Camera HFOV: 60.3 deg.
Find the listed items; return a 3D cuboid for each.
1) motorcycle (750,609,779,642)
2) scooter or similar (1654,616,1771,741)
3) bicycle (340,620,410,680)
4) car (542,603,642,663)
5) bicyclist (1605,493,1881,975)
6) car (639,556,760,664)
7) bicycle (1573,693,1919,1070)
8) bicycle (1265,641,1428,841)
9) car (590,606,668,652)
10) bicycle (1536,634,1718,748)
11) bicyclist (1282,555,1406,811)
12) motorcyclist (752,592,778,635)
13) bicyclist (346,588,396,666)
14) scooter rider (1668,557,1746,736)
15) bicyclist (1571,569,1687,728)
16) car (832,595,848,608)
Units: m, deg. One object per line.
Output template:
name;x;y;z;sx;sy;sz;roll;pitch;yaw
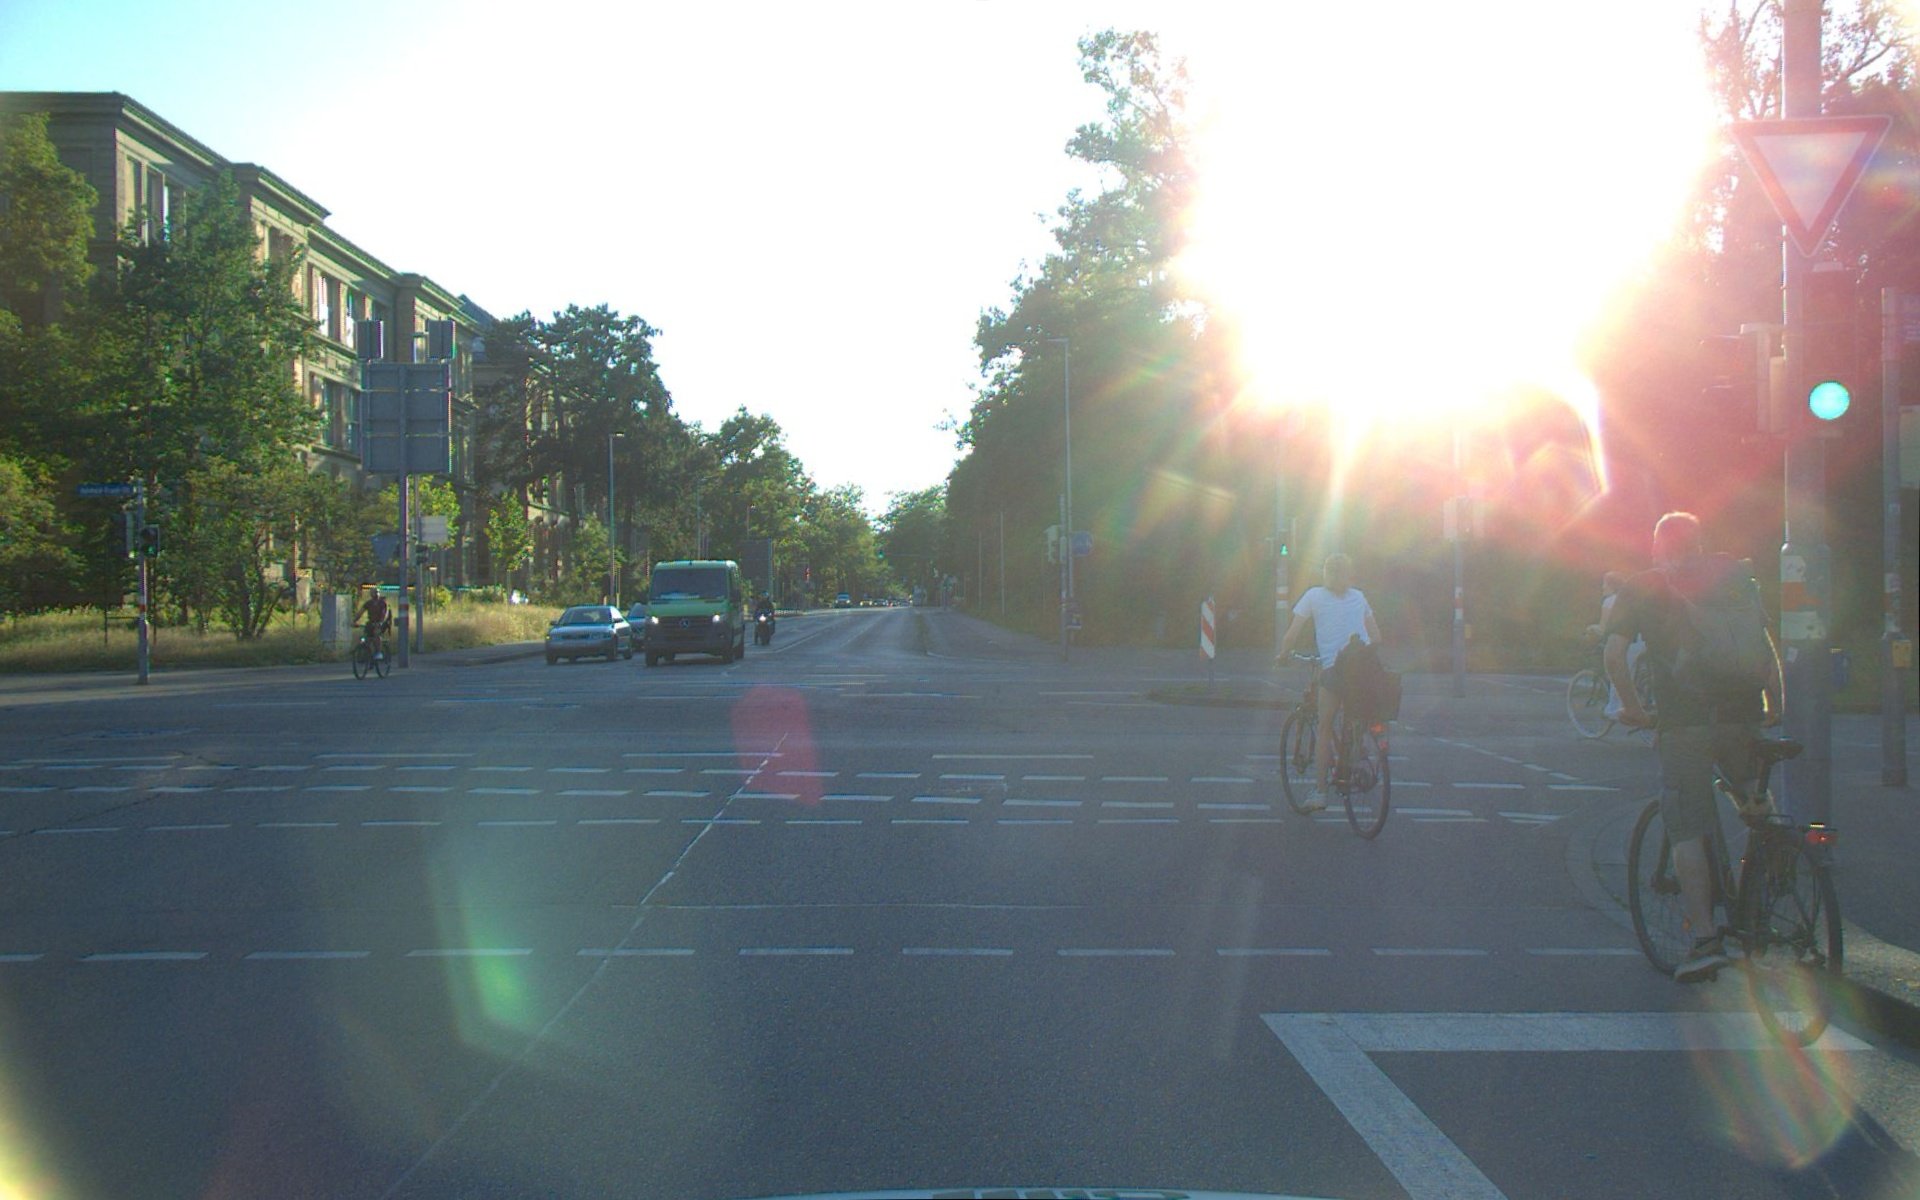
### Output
motorcycle;-6.250;0.801;53.022;0.739;1.019;1.878;-1;0;-1
scooter or similar;7.668;0.776;16.912;0.550;1.210;1.422;0;-1;0
bicycle;-11.820;0.988;33.487;0.672;1.143;2.168;-1;0;-1
car;-9.377;0.818;42.391;1.695;1.433;4.139;-1;0;-1
bicyclist;2.923;0.471;6.247;0.684;1.696;0.798;1;0;3
car;-6.030;0.223;38.981;1.997;2.317;5.940;-1;0;-1
bicycle;2.915;0.943;6.151;0.684;1.081;1.826;0;0;3
bicycle;2.510;0.878;10.935;0.601;1.158;1.884;0;0;-1
car;-10.311;0.896;51.752;1.729;1.351;3.642;-1;0;-1
bicycle;6.691;0.885;16.724;0.757;1.024;2.011;0;0;-10
bicyclist;2.507;0.523;10.864;0.591;1.613;0.909;0;0;-1
motorcyclist;-6.260;0.433;53.076;0.734;1.382;0.704;-1;-1;-1
bicyclist;-11.824;0.534;33.231;0.669;1.539;0.955;-1;0;-1
scooter rider;7.665;0.471;16.990;0.554;1.797;0.505;-1;-1;0
bicyclist;6.710;0.471;16.630;0.746;1.544;0.854;0;0;-11
car;-13.694;0.177;188.711;1.735;1.500;3.772;-1;0;-5
